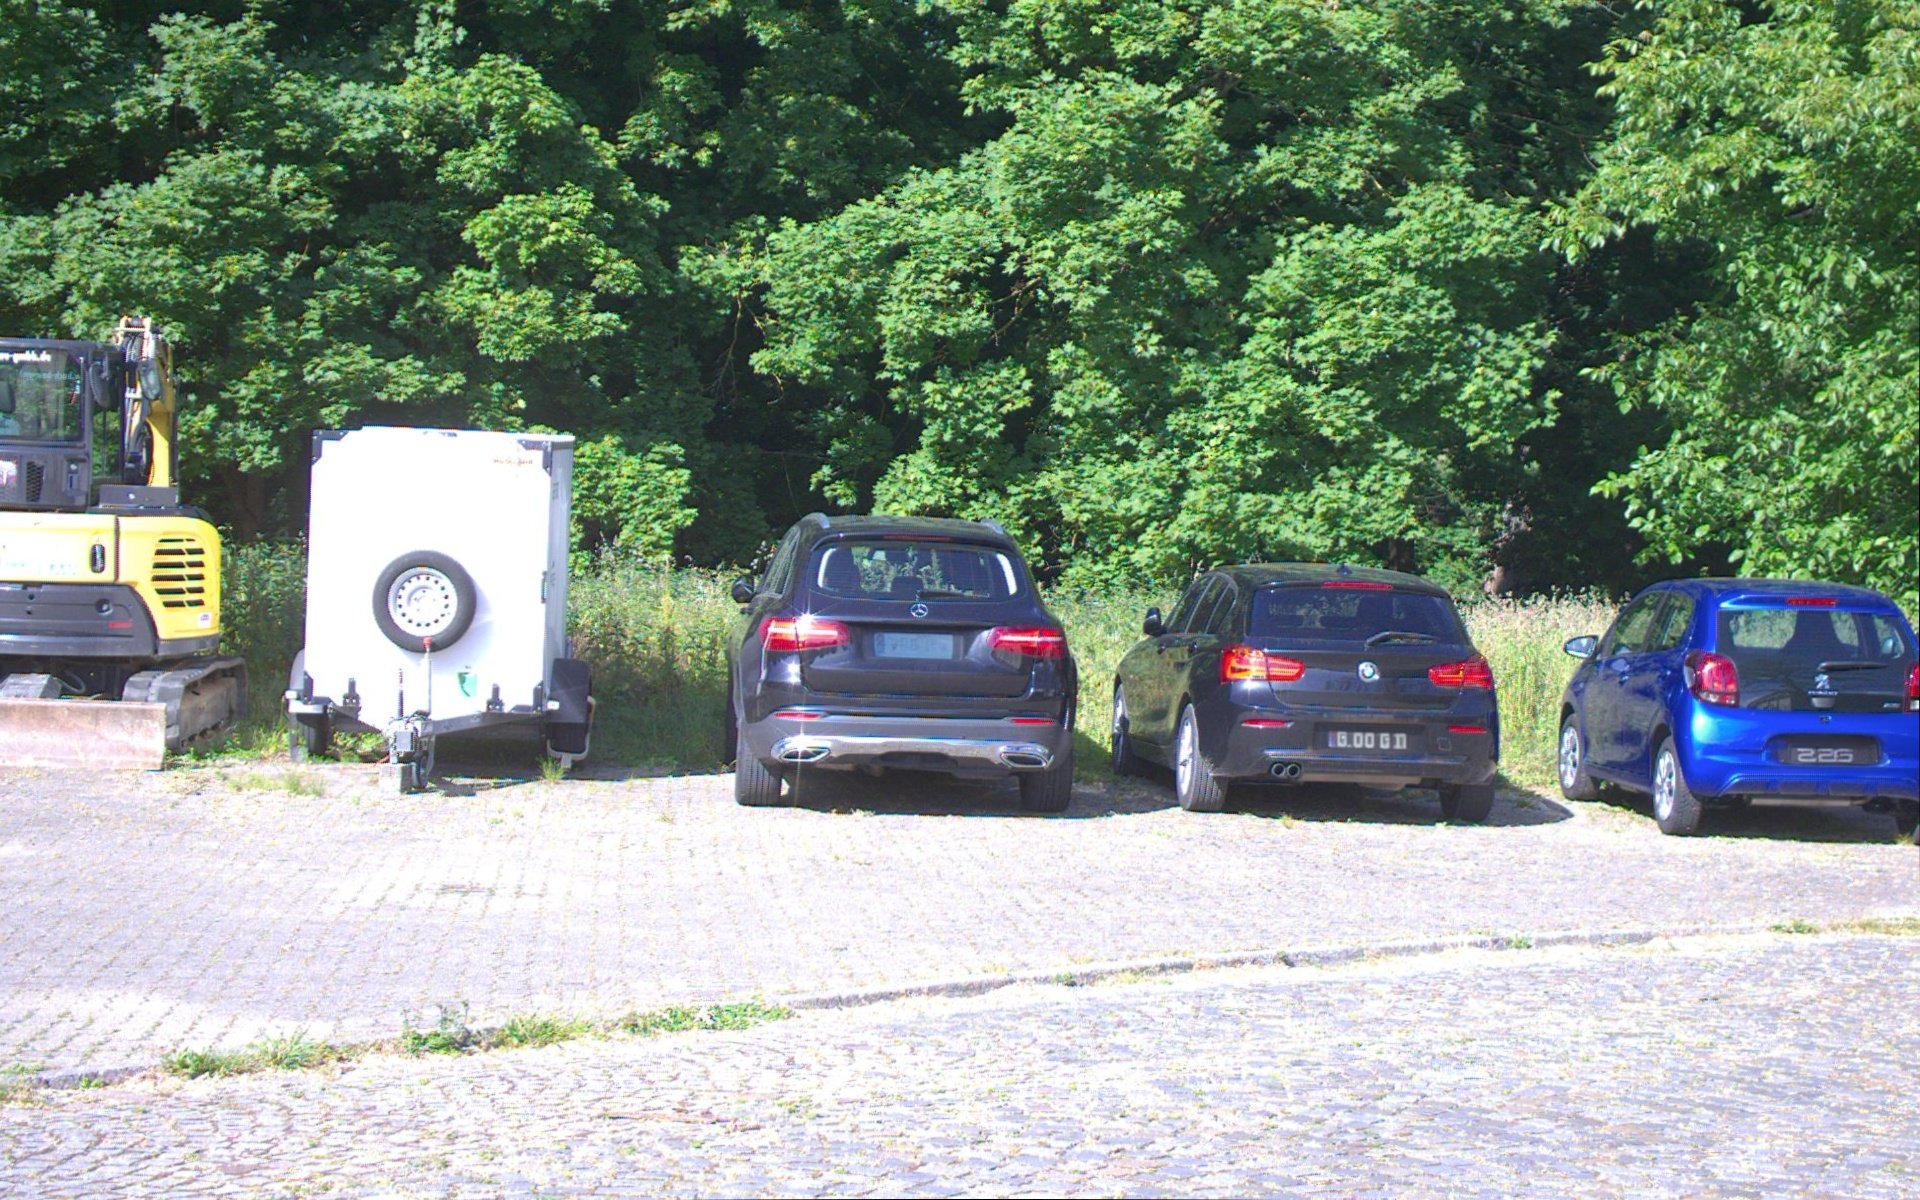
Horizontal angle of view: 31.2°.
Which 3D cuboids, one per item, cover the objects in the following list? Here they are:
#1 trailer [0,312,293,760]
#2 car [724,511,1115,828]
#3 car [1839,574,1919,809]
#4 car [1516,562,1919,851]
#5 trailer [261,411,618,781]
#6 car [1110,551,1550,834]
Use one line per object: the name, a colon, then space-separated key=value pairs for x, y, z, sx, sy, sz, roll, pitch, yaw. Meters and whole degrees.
trailer: x=-5.499 y=-0.485 z=21.205 sx=2.258 sy=2.529 sz=2.851 roll=3 pitch=4 yaw=-3
car: x=-0.354 y=0.320 z=20.284 sx=1.964 sy=1.584 sz=4.132 roll=3 pitch=1 yaw=-5
car: x=6.994 y=0.637 z=22.059 sx=1.739 sy=1.446 sz=3.725 roll=3 pitch=2 yaw=1
car: x=4.713 y=0.578 z=20.850 sx=1.779 sy=1.453 sz=3.791 roll=3 pitch=2 yaw=-4
trailer: x=-3.123 y=-0.060 z=21.114 sx=1.818 sy=2.043 sz=2.851 roll=3 pitch=1 yaw=-3
car: x=2.098 y=0.480 z=20.583 sx=1.889 sy=1.406 sz=3.791 roll=3 pitch=1 yaw=-5
